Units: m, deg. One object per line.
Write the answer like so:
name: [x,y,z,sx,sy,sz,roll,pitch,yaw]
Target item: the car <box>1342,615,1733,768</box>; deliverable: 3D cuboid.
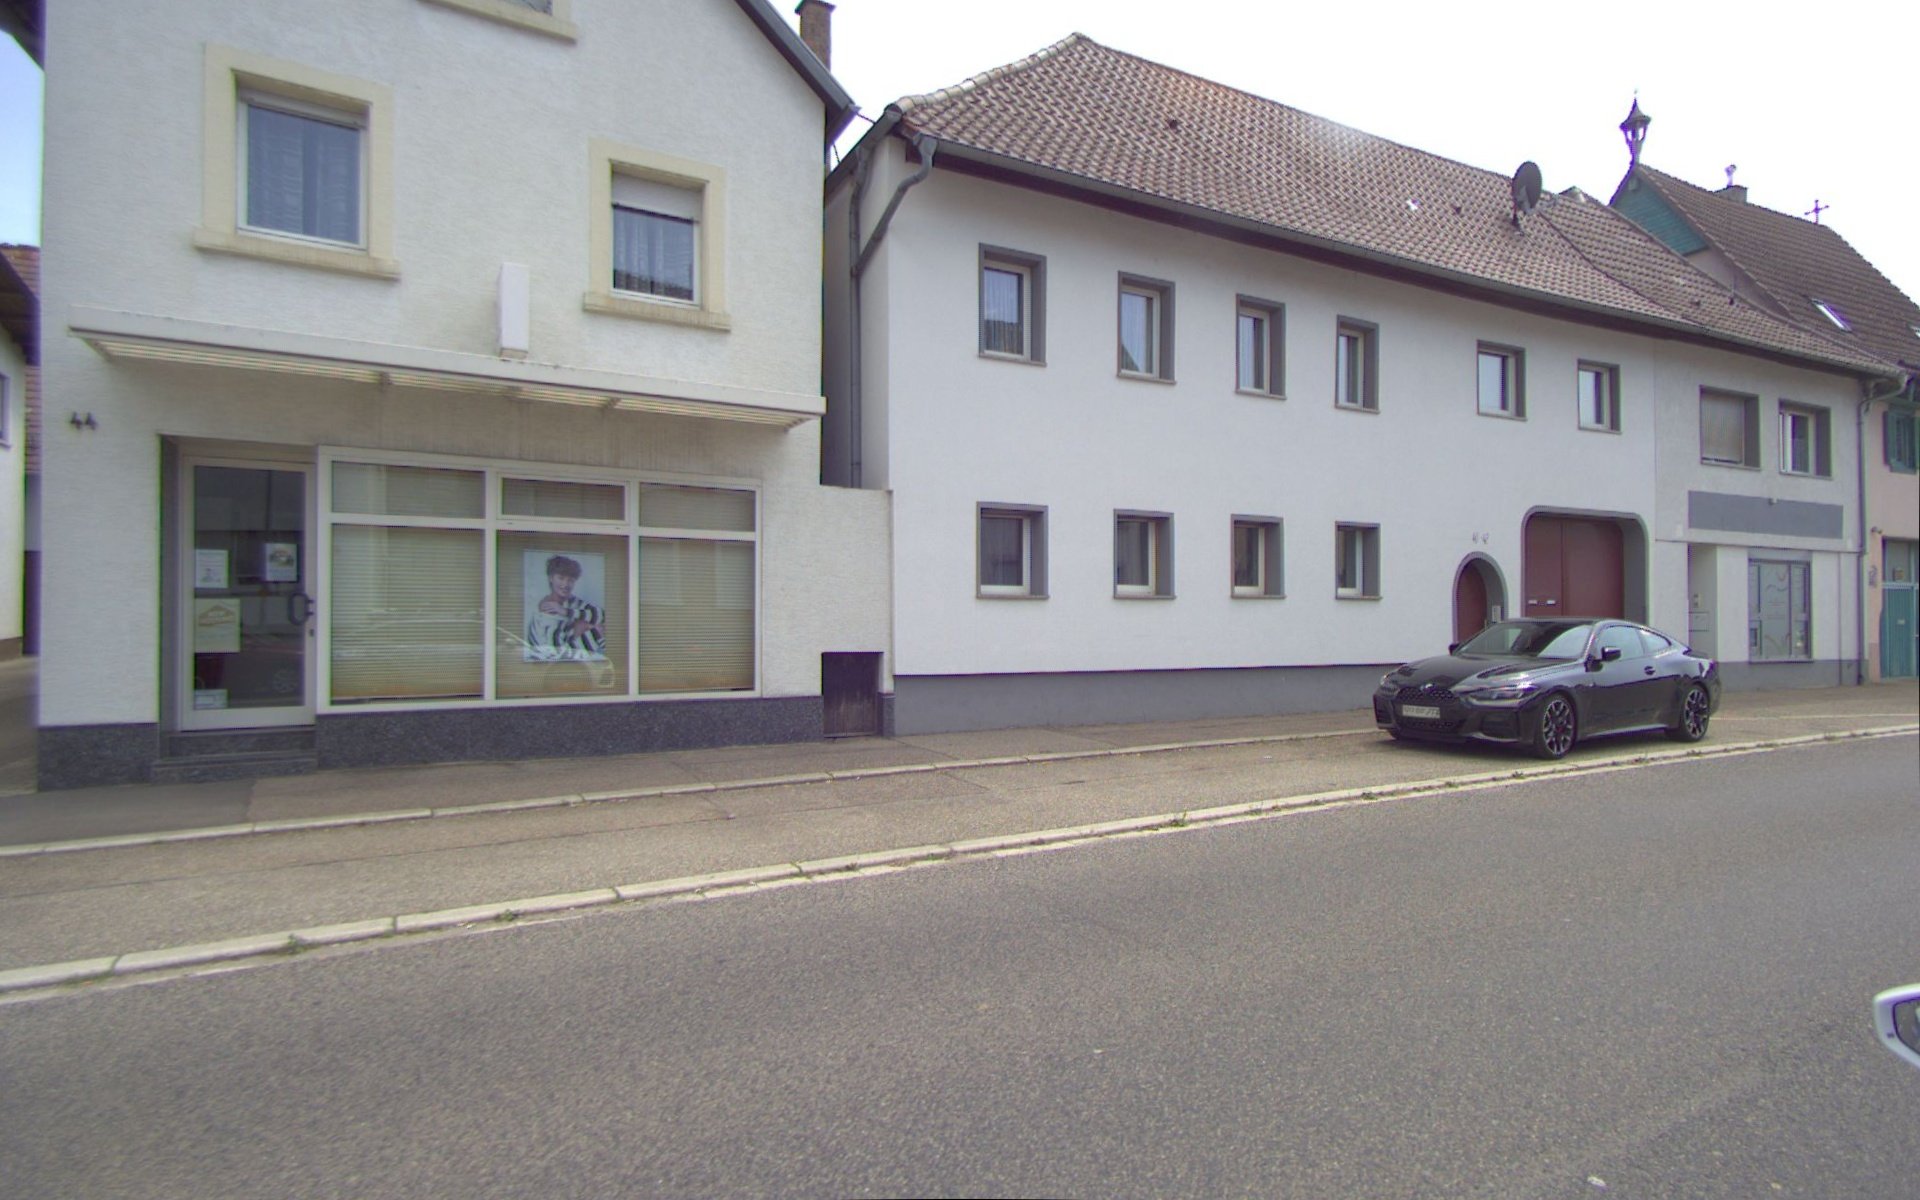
car: [6.603,0.883,11.344,4.700,1.367,1.757,0,0,-30]
